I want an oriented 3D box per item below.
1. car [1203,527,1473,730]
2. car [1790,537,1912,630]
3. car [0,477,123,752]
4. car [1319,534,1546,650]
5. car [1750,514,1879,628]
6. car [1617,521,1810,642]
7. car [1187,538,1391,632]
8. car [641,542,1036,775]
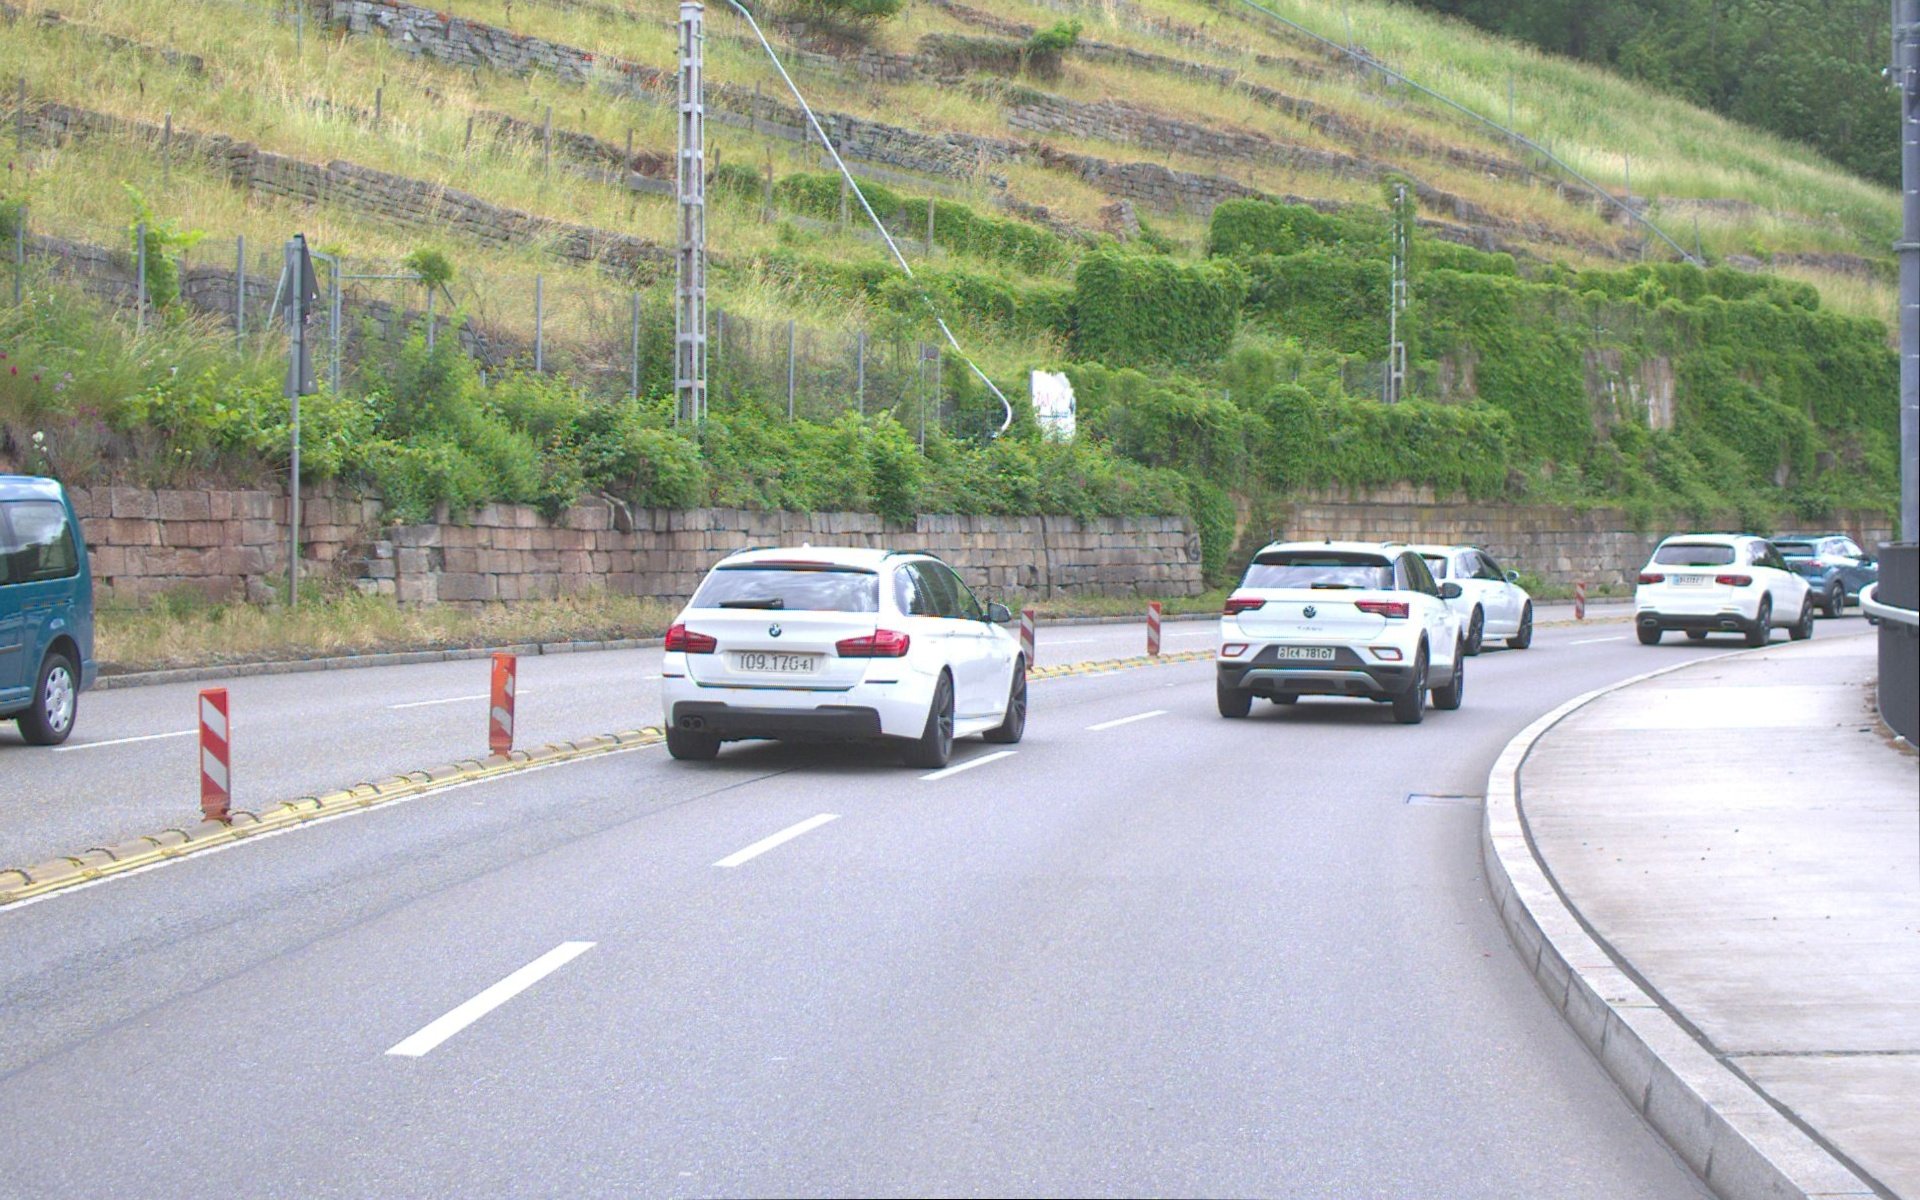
[{"bbox_3d":[3.468,0.193,30.925,1.829,1.600,3.998,3,2,14],"label":"car"},{"bbox_3d":[18.762,-0.315,72.293,1.872,1.756,3.994,-1,-3,23],"label":"car"},{"bbox_3d":[-7.177,0.074,21.817,1.851,1.776,4.732,2,2,10],"label":"car"},{"bbox_3d":[6.523,-0.077,47.014,1.996,1.498,4.662,0,-1,22],"label":"car"},{"bbox_3d":[16.258,-0.530,65.297,1.995,2.007,3.996,-3,-1,18],"label":"car"},{"bbox_3d":[11.262,-0.240,51.197,1.996,1.712,4.108,0,-1,24],"label":"car"},{"bbox_3d":[5.626,-0.289,58.341,1.854,1.408,4.409,2,3,28],"label":"car"},{"bbox_3d":[-0.739,0.338,24.162,1.829,1.454,4.484,1,1,10],"label":"car"}]
